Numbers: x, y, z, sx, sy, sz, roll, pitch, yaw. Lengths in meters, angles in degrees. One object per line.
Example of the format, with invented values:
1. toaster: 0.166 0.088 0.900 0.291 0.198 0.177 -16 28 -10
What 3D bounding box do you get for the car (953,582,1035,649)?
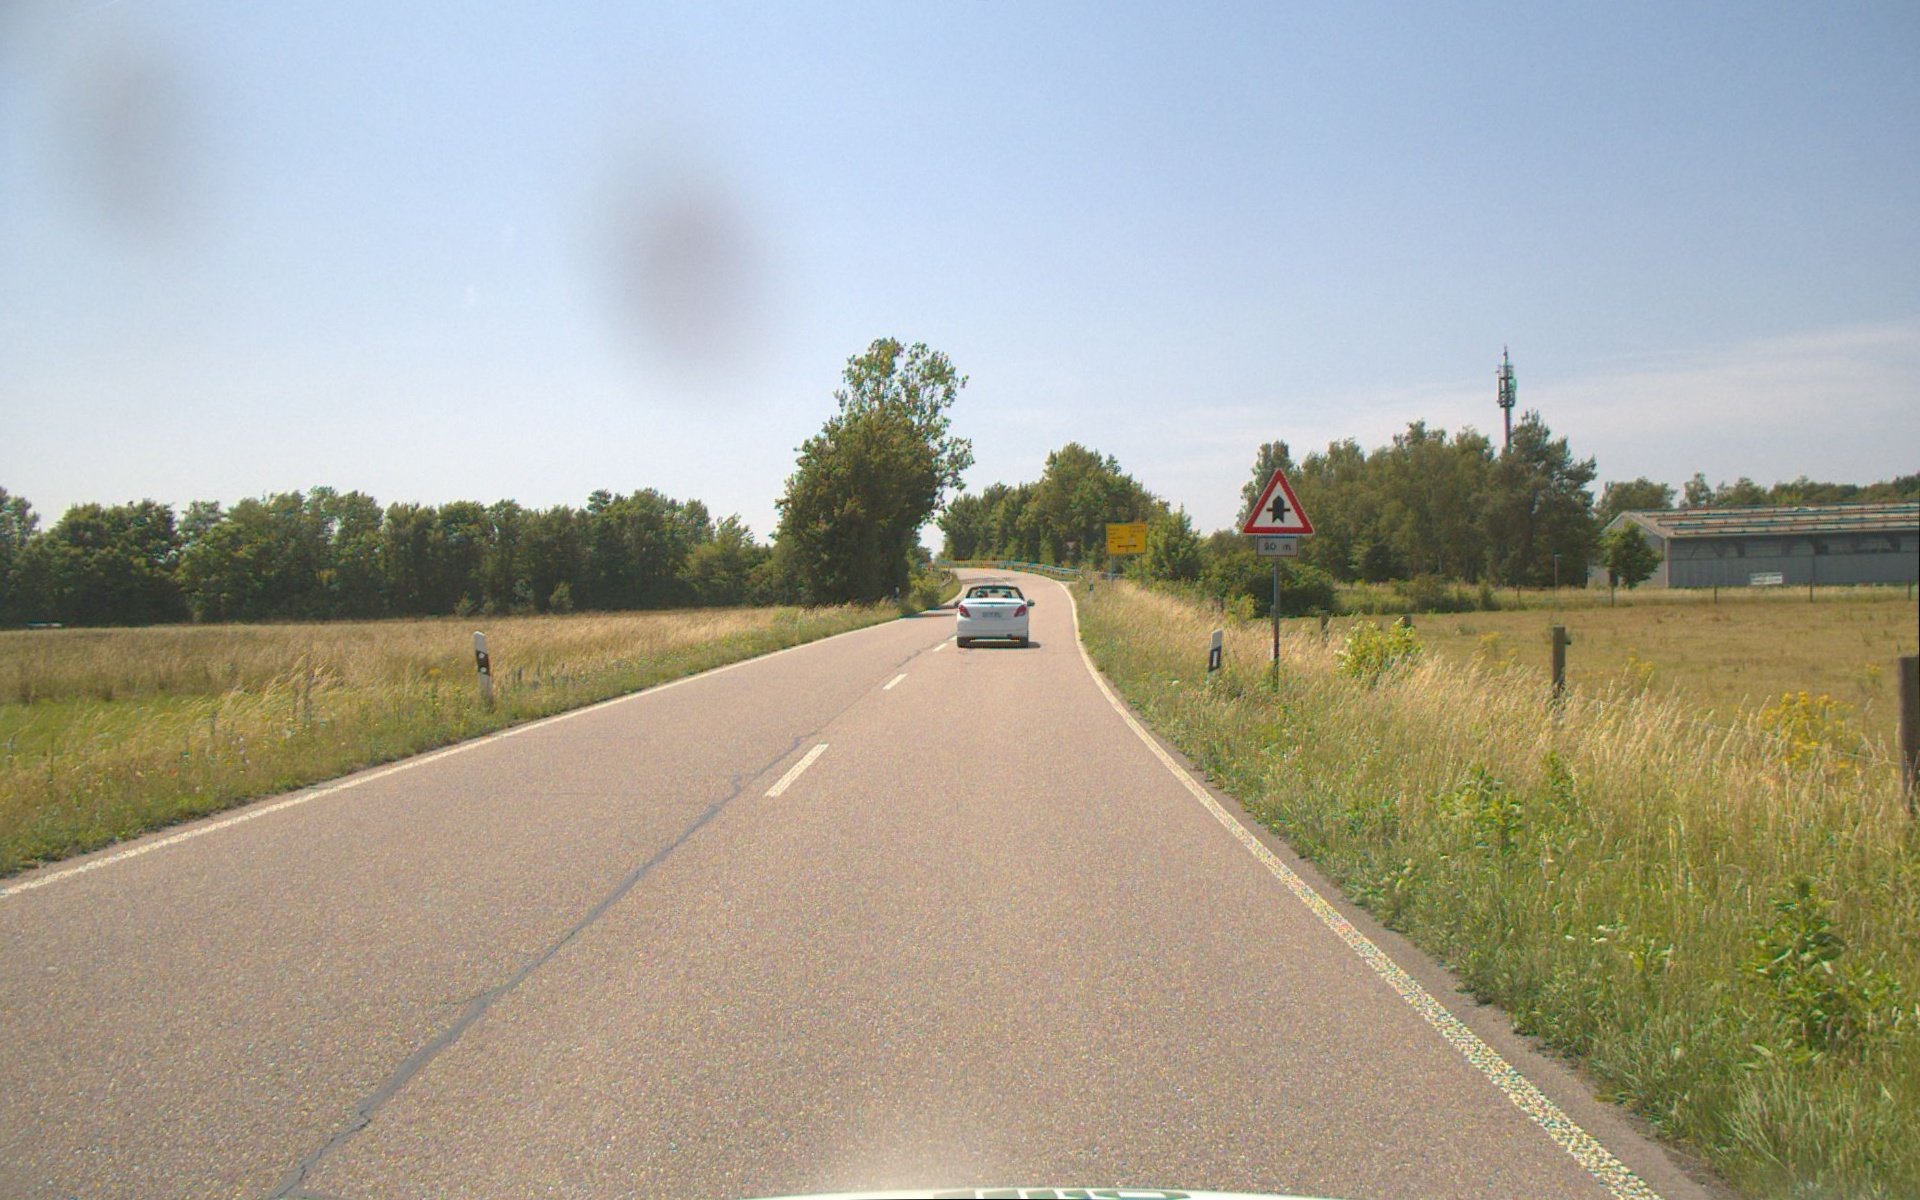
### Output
1. car: 0.823 0.324 39.293 1.812 1.403 4.001 -2 1 2
